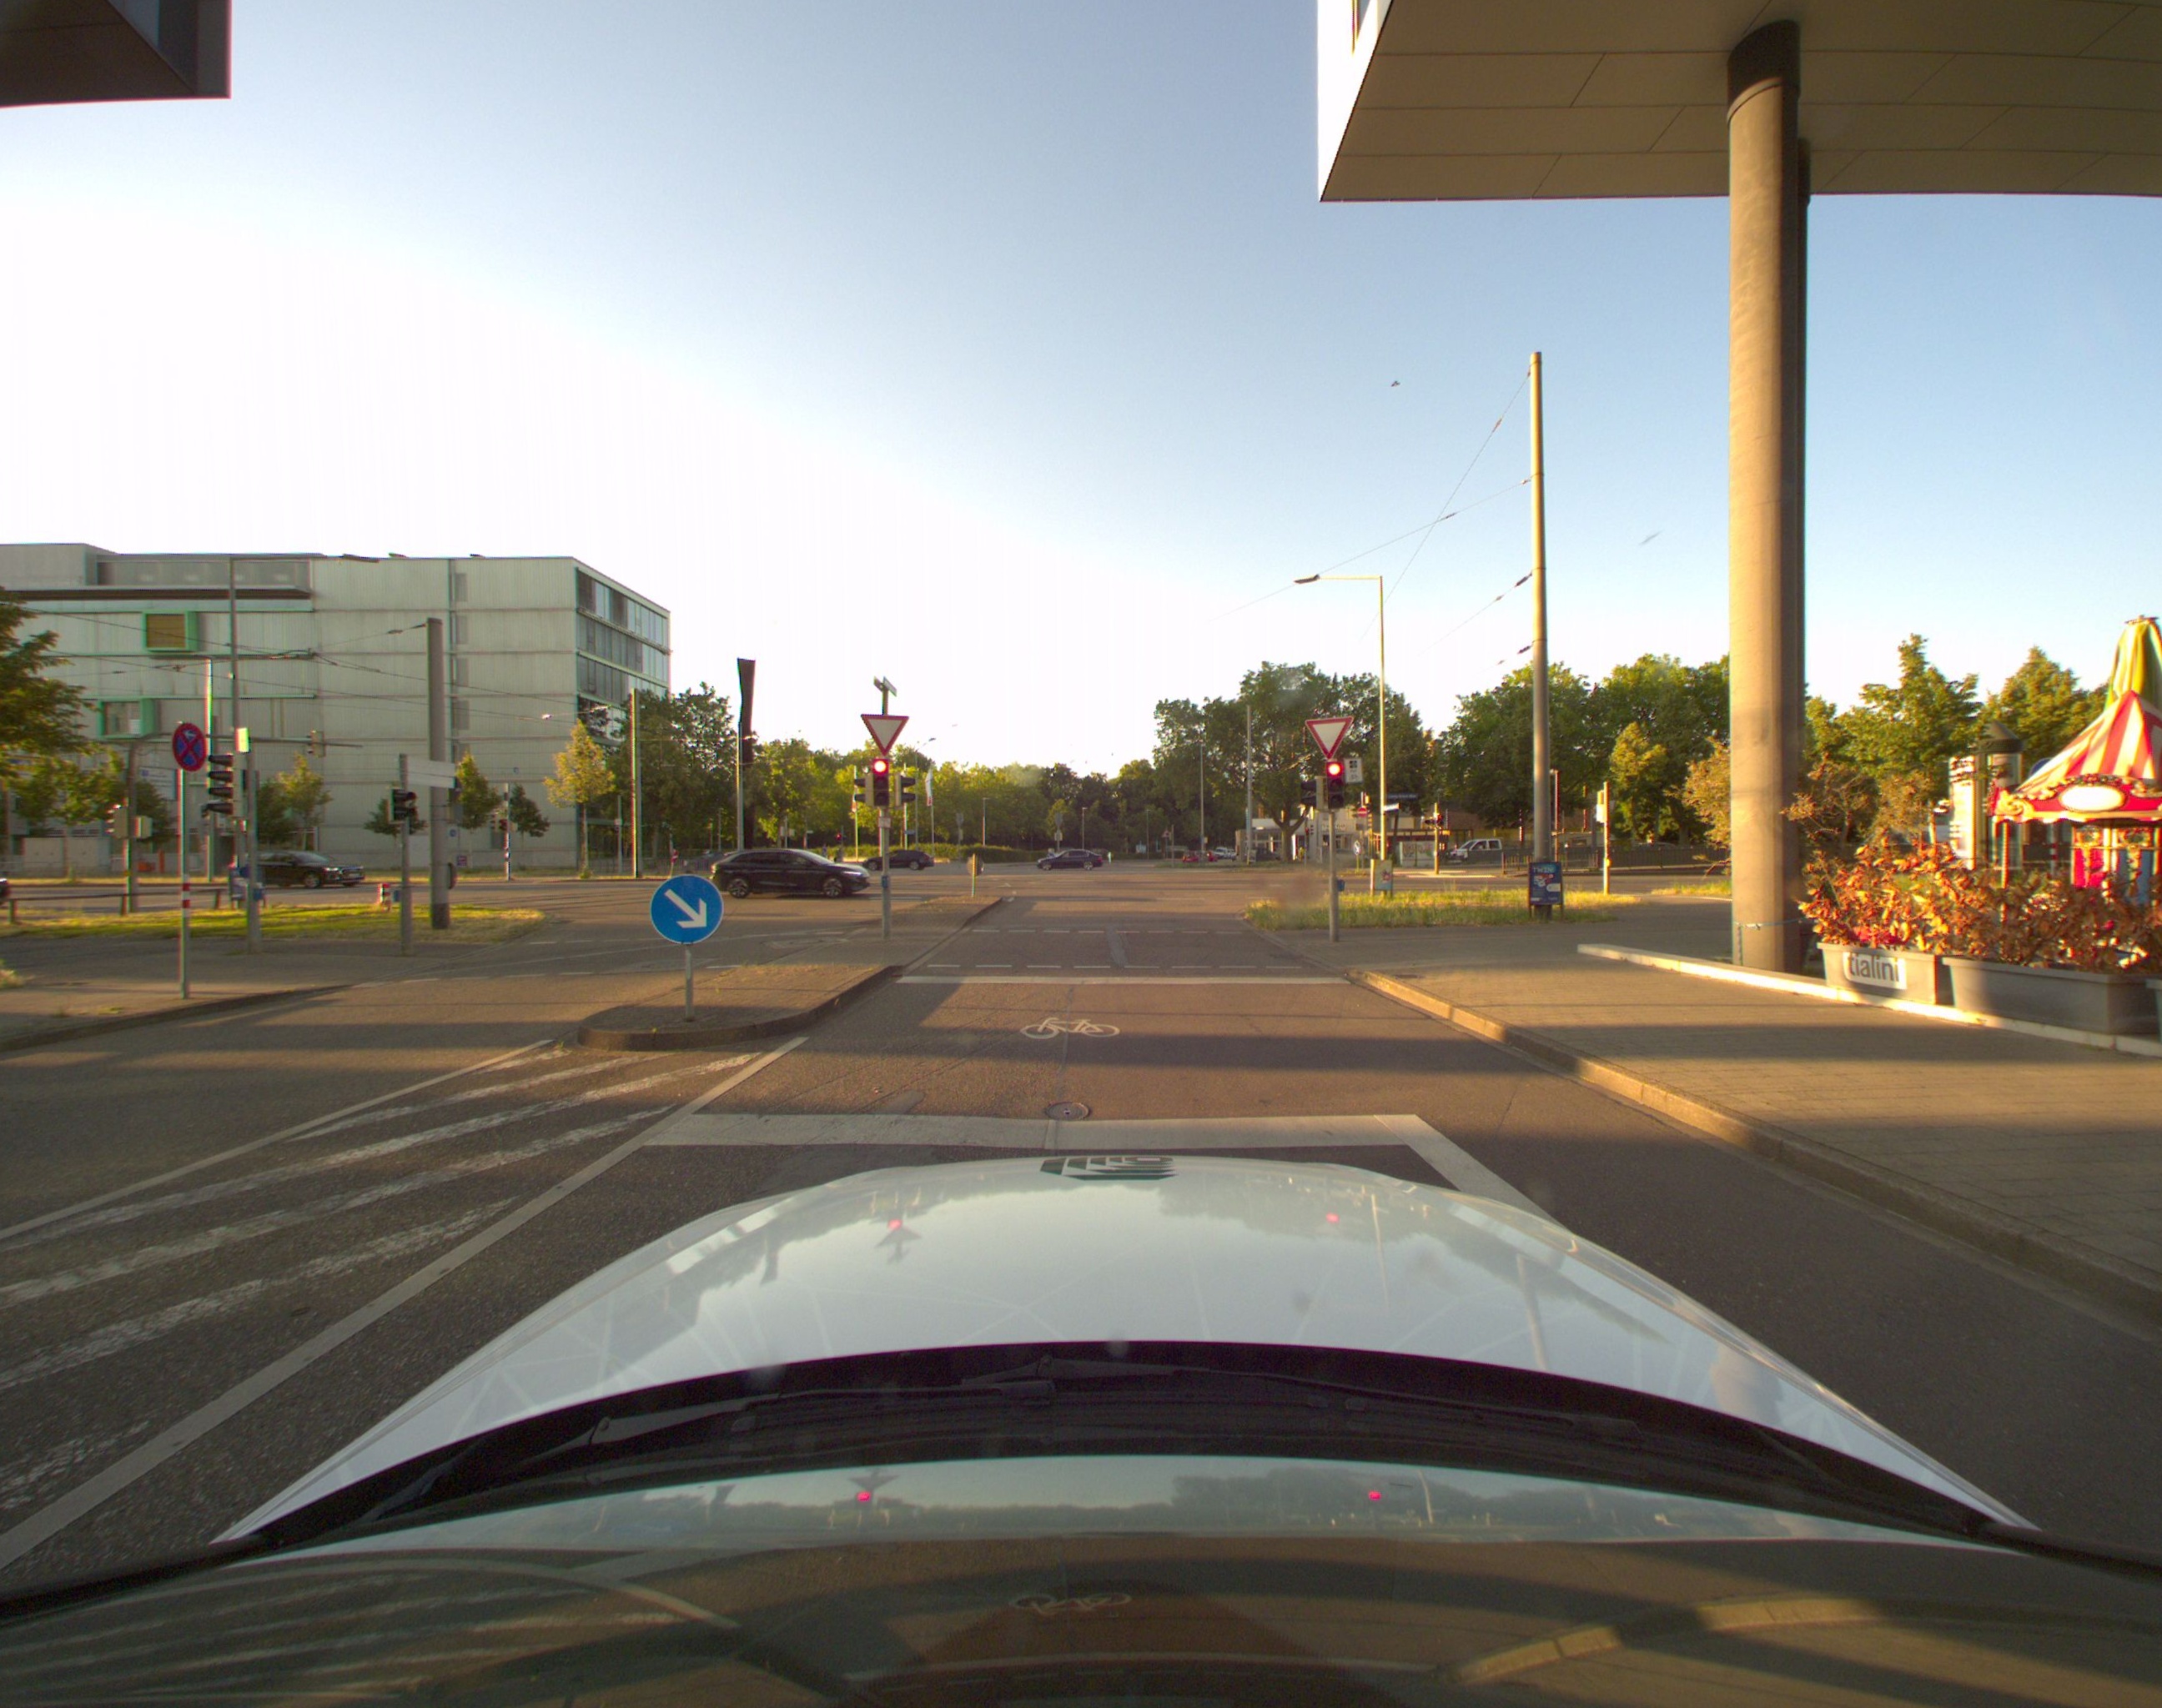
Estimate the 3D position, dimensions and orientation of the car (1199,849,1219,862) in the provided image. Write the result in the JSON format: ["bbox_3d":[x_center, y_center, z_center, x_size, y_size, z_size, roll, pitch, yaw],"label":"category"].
[{"bbox_3d":[16.216,0.225,103.180,1.978,1.662,4.018,-1,-1,17],"label":"car"}]

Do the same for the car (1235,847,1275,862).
[{"bbox_3d":[18.931,0.021,88.901,4.194,1.552,2.005,-1,-1,9],"label":"car"}]

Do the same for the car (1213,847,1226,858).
[{"bbox_3d":[22.278,-0.237,130.881,1.850,1.794,4.013,-1,-1,12],"label":"car"}]

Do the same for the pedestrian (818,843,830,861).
[{"bbox_3d":[-25.825,-0.208,81.786,0.852,1.744,0.835,-1,0,30],"label":"pedestrian"}]

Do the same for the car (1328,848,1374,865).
[{"bbox_3d":[23.783,0.212,71.858,3.715,1.440,1.669,-1,-1,11],"label":"car"}]

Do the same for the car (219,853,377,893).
[{"bbox_3d":[-32.500,0.747,33.897,4.467,1.557,1.986,-1,0,-4],"label":"car"}]

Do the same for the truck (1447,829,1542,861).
[{"bbox_3d":[28.505,-0.607,56.264,5.535,2.054,2.069,-1,0,2],"label":"truck"}]

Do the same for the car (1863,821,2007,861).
[{"bbox_3d":[59.077,-0.861,56.449,6.892,2.636,2.812,-1,-1,1],"label":"car"}]

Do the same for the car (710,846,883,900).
[{"bbox_3d":[-9.155,0.593,26.536,4.895,1.614,1.998,-1,0,-2],"label":"car"}]

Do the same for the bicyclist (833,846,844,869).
[{"bbox_3d":[-19.027,0.269,63.912,0.753,1.709,0.914,-1,0,-20],"label":"bicyclist"}]

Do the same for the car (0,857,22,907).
[{"bbox_3d":[-36.251,0.901,25.077,4.423,1.574,1.998,-1,0,-3],"label":"car"}]

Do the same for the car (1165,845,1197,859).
[{"bbox_3d":[15.424,-0.319,125.730,4.753,2.006,2.002,-1,-1,3],"label":"car"}]

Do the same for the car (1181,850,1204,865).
[{"bbox_3d":[13.113,0.387,95.560,1.978,1.662,4.018,-1,-1,17],"label":"car"}]

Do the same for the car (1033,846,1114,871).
[{"bbox_3d":[-0.480,0.312,53.795,5.206,1.552,2.000,-1,-1,1],"label":"car"}]

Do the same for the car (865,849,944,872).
[{"bbox_3d":[-12.420,0.445,57.491,5.082,1.552,2.000,-1,-1,1],"label":"car"}]

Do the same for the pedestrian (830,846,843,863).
[{"bbox_3d":[-24.968,0.049,83.180,0.852,1.744,0.835,-1,0,32],"label":"pedestrian"}]

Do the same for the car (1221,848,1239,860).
[{"bbox_3d":[21.096,0.010,115.301,1.978,1.662,4.018,-1,-1,17],"label":"car"}]

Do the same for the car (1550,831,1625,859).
[{"bbox_3d":[47.878,-0.835,77.073,5.561,2.551,2.235,-1,0,9],"label":"car"}]

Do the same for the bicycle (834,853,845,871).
[{"bbox_3d":[-18.999,0.600,64.019,0.732,1.341,2.673,-1,0,-19],"label":"bicycle"}]

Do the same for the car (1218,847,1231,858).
[{"bbox_3d":[23.942,-0.244,135.738,1.849,1.794,4.015,-1,-1,14],"label":"car"}]
